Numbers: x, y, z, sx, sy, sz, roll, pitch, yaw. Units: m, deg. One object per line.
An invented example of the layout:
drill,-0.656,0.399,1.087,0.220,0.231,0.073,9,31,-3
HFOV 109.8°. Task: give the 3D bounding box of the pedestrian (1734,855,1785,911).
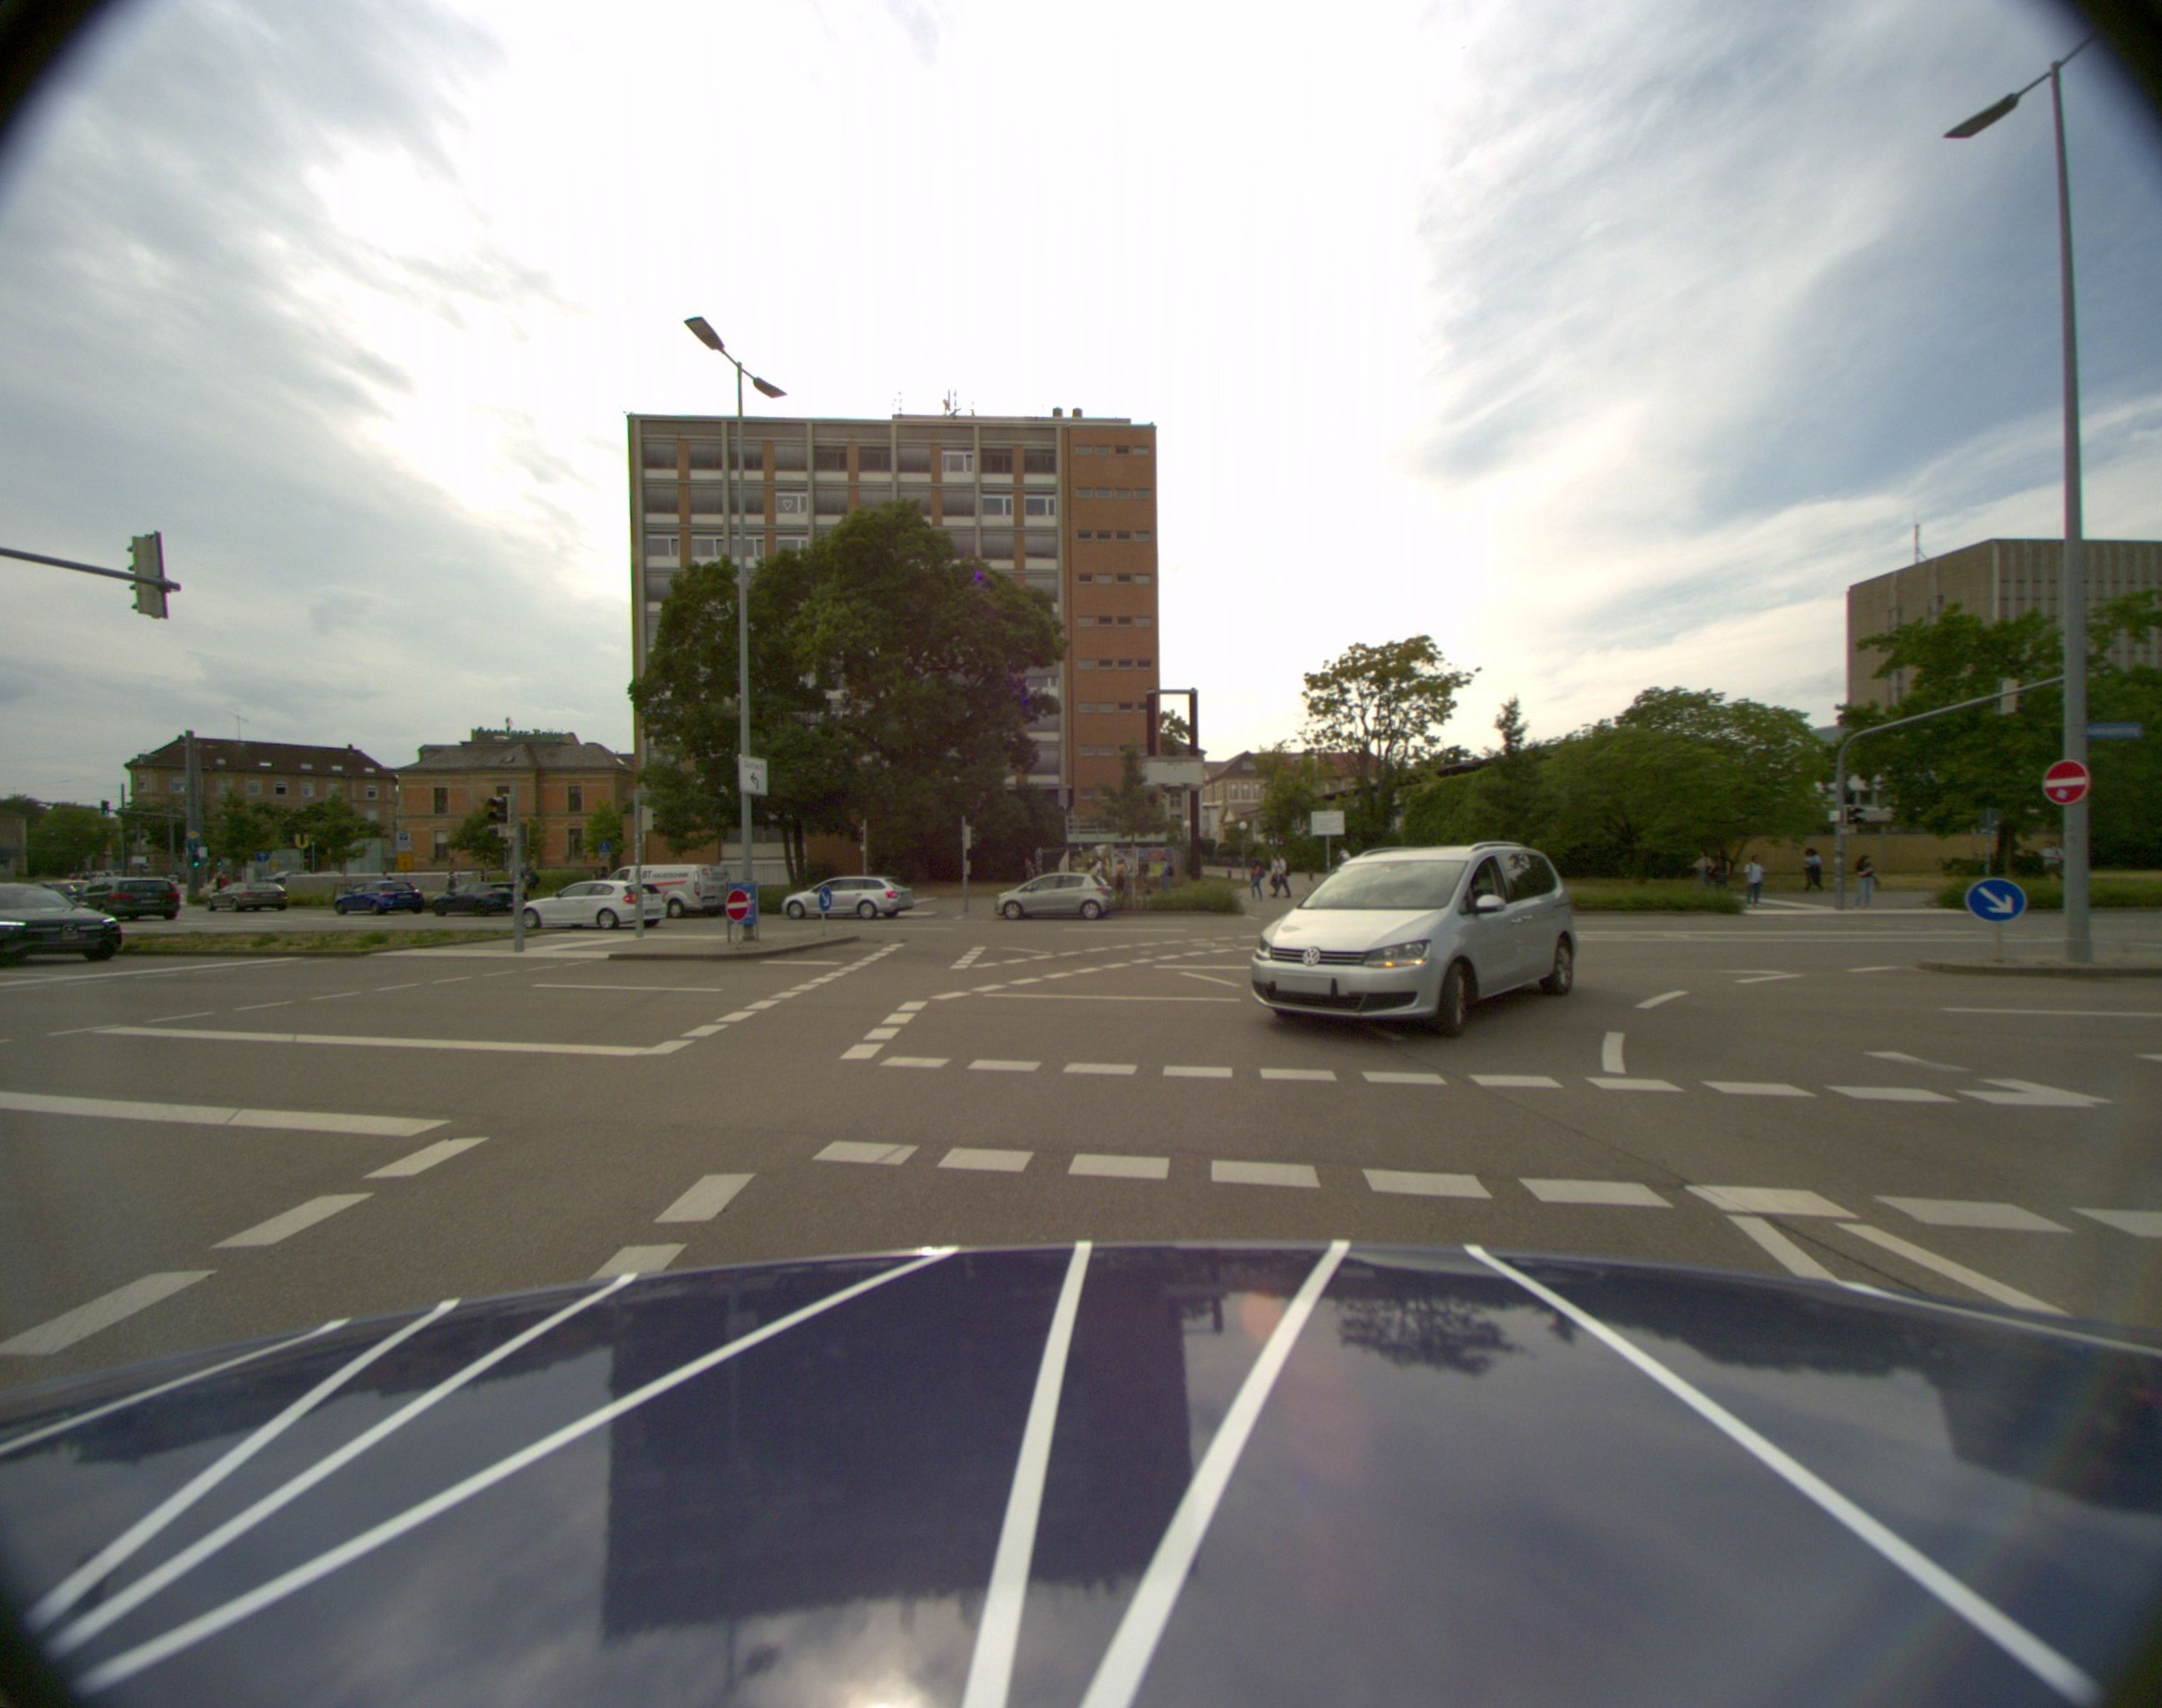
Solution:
pedestrian,21.317,0.903,23.884,0.838,1.700,0.800,-1,-1,7

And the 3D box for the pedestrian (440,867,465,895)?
pedestrian,-36.611,1.580,44.251,0.810,1.565,0.781,0,2,28

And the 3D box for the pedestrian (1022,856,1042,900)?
pedestrian,-2.087,1.034,32.419,0.707,1.842,0.640,-1,1,5

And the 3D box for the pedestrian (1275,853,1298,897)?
pedestrian,8.100,0.828,29.971,0.707,1.700,0.640,-1,-1,5

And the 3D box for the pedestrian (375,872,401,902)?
pedestrian,-38.027,1.805,41.701,0.810,1.565,0.781,0,2,28

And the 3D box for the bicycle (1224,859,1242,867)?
bicycle,15.641,0.936,78.307,1.842,0.689,0.653,-1,-1,10

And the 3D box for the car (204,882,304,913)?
car,-40.741,2.120,37.433,3.692,1.411,2.143,-2,-2,21

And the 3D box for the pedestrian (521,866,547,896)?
pedestrian,-29.890,1.474,41.516,0.810,1.565,0.781,0,2,28

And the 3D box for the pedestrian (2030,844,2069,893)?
pedestrian,34.545,0.508,27.107,0.694,1.687,0.544,-1,2,-2

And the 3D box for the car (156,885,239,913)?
car,-46.482,2.358,39.969,3.692,1.411,1.712,-2,-2,21

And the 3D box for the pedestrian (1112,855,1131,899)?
pedestrian,1.593,0.885,29.791,0.707,1.701,0.640,-1,1,5

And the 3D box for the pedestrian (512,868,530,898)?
pedestrian,-29.518,1.542,40.030,0.550,1.528,0.548,-2,2,-18

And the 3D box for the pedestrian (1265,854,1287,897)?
pedestrian,7.873,0.856,30.740,0.707,1.700,0.640,-1,-1,5

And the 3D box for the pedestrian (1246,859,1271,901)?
pedestrian,6.828,0.985,29.191,0.799,1.534,0.839,-1,3,5

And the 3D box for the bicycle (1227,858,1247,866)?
bicycle,15.254,0.784,74.324,1.842,0.689,0.653,-1,-1,10

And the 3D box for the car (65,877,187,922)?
car,-37.804,1.801,30.067,4.675,1.640,1.764,-2,-2,22

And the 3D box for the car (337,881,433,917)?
car,-30.792,2.005,33.599,3.626,1.499,1.674,-2,-2,21

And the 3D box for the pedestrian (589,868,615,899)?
pedestrian,-24.591,1.512,39.031,0.810,1.565,0.781,0,2,28

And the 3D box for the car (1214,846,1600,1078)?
car,3.558,0.846,7.833,4.538,1.723,1.820,0,-2,-41

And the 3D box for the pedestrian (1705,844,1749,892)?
pedestrian,23.172,0.511,27.270,0.800,1.700,0.839,-1,-1,-14

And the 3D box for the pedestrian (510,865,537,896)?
pedestrian,-29.495,1.403,40.198,0.810,1.565,0.781,0,2,28

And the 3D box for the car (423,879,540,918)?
car,-24.860,1.848,31.532,3.994,1.523,1.867,-2,-2,17

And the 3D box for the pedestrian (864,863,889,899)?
pedestrian,-9.203,1.197,34.181,0.811,1.565,0.780,-1,2,5

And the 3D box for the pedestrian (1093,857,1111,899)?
pedestrian,0.881,0.991,31.800,0.707,1.701,0.640,-1,0,5

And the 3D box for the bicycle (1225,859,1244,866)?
bicycle,15.639,0.896,77.464,1.842,0.689,0.653,-1,-1,10

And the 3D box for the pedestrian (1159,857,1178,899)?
pedestrian,3.591,0.981,31.230,0.707,1.701,0.640,-1,2,5

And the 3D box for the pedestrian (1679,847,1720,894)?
pedestrian,22.949,0.604,28.200,0.800,1.700,0.839,-1,-1,-14

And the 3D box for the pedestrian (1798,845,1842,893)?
pedestrian,26.604,0.556,27.363,0.799,1.700,0.715,-1,-1,-2

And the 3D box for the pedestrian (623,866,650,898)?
pedestrian,-22.529,1.429,38.541,0.810,1.565,0.781,-1,2,24

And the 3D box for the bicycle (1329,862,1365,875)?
bicycle,15.897,0.863,45.499,1.840,0.689,0.845,-3,-2,43

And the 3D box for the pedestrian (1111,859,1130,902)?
pedestrian,1.607,1.056,30.488,0.707,1.700,0.640,-1,-1,5

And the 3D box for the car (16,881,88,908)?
car,-57.848,2.291,42.720,3.990,1.411,1.720,-2,-2,26

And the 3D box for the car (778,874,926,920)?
car,-7.837,1.459,26.107,4.521,1.465,1.827,-2,-2,12

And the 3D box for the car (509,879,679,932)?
car,-14.282,1.499,22.366,4.216,1.449,1.763,-2,-2,13

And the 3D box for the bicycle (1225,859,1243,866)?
bicycle,15.950,0.924,79.293,1.842,0.689,0.653,-1,-1,10

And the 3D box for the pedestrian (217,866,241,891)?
pedestrian,-54.134,1.545,48.300,0.810,1.565,0.781,0,2,28

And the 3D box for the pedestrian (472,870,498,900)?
pedestrian,-32.332,1.671,41.211,0.810,1.565,0.781,0,2,28

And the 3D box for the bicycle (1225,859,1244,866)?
bicycle,15.304,0.843,75.796,1.842,0.689,0.653,-1,-1,10

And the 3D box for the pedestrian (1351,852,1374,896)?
pedestrian,11.062,0.804,29.856,0.633,1.700,0.674,-1,-1,5

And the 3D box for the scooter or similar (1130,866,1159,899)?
scooter or similar,2.683,1.213,32.291,1.148,1.362,0.399,-1,-1,-9

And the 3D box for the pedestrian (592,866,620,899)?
pedestrian,-23.240,1.402,37.204,0.810,1.565,0.781,-1,2,24

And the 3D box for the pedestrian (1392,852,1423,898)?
pedestrian,12.372,0.803,28.794,0.799,1.700,0.840,-1,-1,5

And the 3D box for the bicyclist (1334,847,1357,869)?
bicyclist,15.828,0.249,45.524,1.010,1.269,0.841,-3,-2,44

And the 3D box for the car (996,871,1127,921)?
car,-0.593,1.341,24.465,3.869,1.480,1.673,-2,-2,12

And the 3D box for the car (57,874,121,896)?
car,-68.483,2.131,52.444,3.692,1.411,1.712,-2,-2,21

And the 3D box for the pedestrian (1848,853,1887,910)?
pedestrian,23.753,0.836,22.955,0.587,1.700,0.481,-1,-1,7

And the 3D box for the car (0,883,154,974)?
car,-21.886,1.475,15.579,4.503,1.641,2.003,-2,-2,15

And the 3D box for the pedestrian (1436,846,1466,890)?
pedestrian,14.709,0.563,30.212,0.799,1.700,0.840,-1,-1,5

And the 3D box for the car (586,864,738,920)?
car,-15.619,1.414,28.344,5.194,1.947,1.828,-2,-2,17
